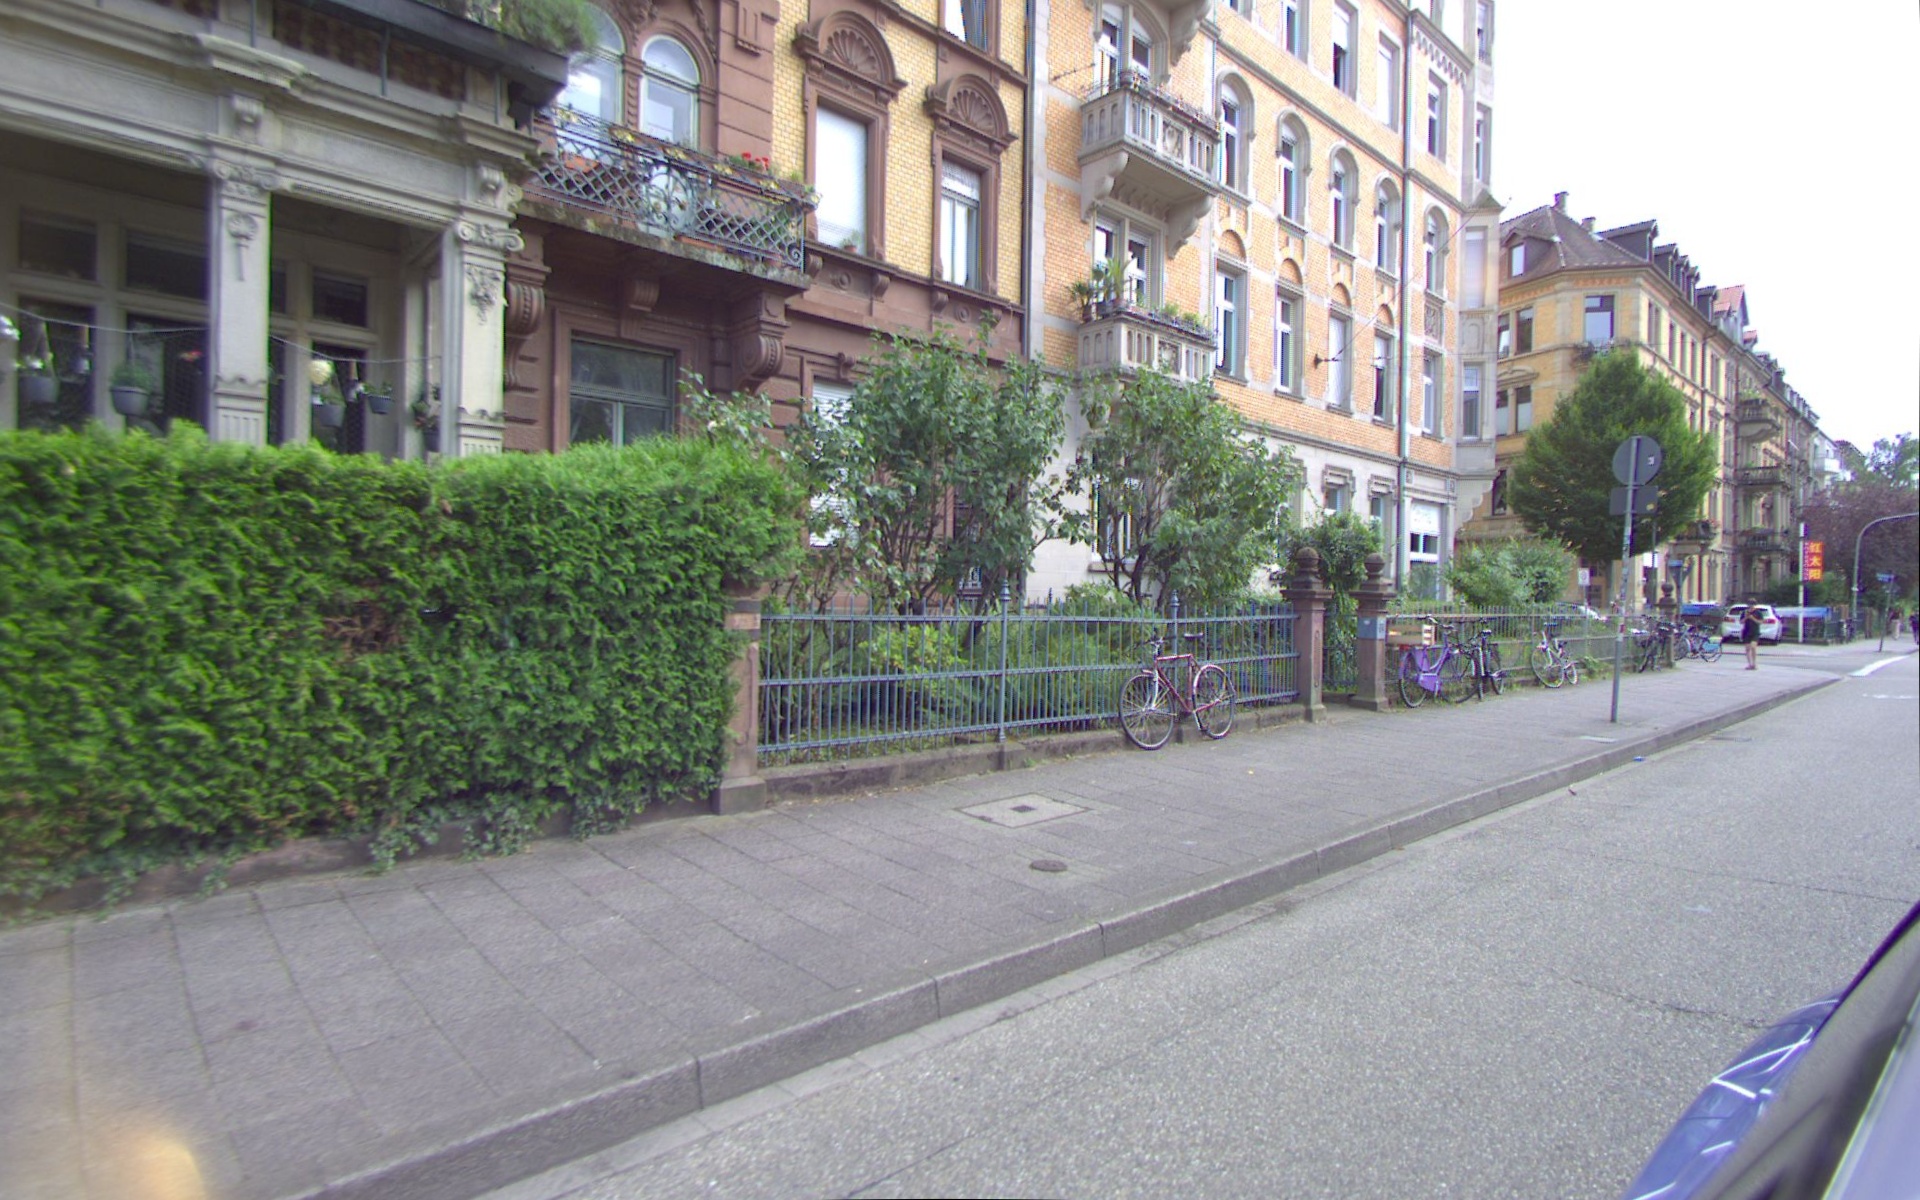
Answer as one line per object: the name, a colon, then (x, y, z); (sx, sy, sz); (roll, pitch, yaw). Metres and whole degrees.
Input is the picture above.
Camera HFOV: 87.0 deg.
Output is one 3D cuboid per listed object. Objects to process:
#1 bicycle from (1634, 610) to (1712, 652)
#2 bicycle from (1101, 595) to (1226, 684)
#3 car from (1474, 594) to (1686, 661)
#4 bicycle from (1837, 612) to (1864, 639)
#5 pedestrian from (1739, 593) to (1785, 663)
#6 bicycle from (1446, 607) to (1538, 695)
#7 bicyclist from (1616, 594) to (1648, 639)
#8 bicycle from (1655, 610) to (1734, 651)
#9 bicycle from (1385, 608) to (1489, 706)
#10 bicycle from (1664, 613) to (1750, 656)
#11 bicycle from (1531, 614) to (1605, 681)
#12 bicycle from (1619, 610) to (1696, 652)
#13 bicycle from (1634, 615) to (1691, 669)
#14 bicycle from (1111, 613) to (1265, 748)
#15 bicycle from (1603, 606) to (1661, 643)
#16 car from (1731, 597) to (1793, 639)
bicycle: (21.222, 0.900, 30.161); (0.521, 1.142, 1.898); (1, 1, -21)
bicycle: (2.830, 0.519, 14.201); (0.601, 1.126, 1.668); (1, 1, -44)
car: (15.543, 0.635, 25.554); (1.673, 1.526, 4.292); (1, 0, -41)
bicycle: (37.762, 1.066, 42.903); (1.842, 1.127, 0.630); (0, 0, -42)
pedestrian: (19.268, 0.662, 24.318); (0.821, 1.644, 0.731); (1, 0, -43)
bicycle: (7.511, 0.684, 14.251); (1.644, 1.125, 0.580); (0, 4, -44)
bicyclist: (24.512, 0.601, 36.927); (0.570, 1.621, 0.857); (4, -3, -41)
bicycle: (22.199, 0.912, 30.630); (0.522, 1.142, 1.897); (1, 1, -26)
bicycle: (6.105, 0.691, 12.914); (1.644, 1.125, 0.580); (0, 4, -44)
bicycle: (20.484, 0.942, 27.767); (1.839, 1.127, 0.631); (1, 0, 1)
bicycle: (10.074, 0.764, 16.743); (1.644, 0.994, 0.580); (0, 4, -44)
bicycle: (20.598, 0.905, 29.934); (0.521, 1.142, 1.898); (1, 1, -20)
bicycle: (14.349, 0.836, 20.648); (1.644, 0.994, 0.580); (0, 4, -44)
bicycle: (2.151, 0.702, 9.433); (1.644, 1.126, 0.579); (0, 0, -44)
bicycle: (24.520, 0.881, 36.924); (0.570, 1.274, 1.669); (4, -3, -41)
car: (32.164, 0.676, 40.547); (1.750, 1.544, 3.940); (1, 1, 42)
